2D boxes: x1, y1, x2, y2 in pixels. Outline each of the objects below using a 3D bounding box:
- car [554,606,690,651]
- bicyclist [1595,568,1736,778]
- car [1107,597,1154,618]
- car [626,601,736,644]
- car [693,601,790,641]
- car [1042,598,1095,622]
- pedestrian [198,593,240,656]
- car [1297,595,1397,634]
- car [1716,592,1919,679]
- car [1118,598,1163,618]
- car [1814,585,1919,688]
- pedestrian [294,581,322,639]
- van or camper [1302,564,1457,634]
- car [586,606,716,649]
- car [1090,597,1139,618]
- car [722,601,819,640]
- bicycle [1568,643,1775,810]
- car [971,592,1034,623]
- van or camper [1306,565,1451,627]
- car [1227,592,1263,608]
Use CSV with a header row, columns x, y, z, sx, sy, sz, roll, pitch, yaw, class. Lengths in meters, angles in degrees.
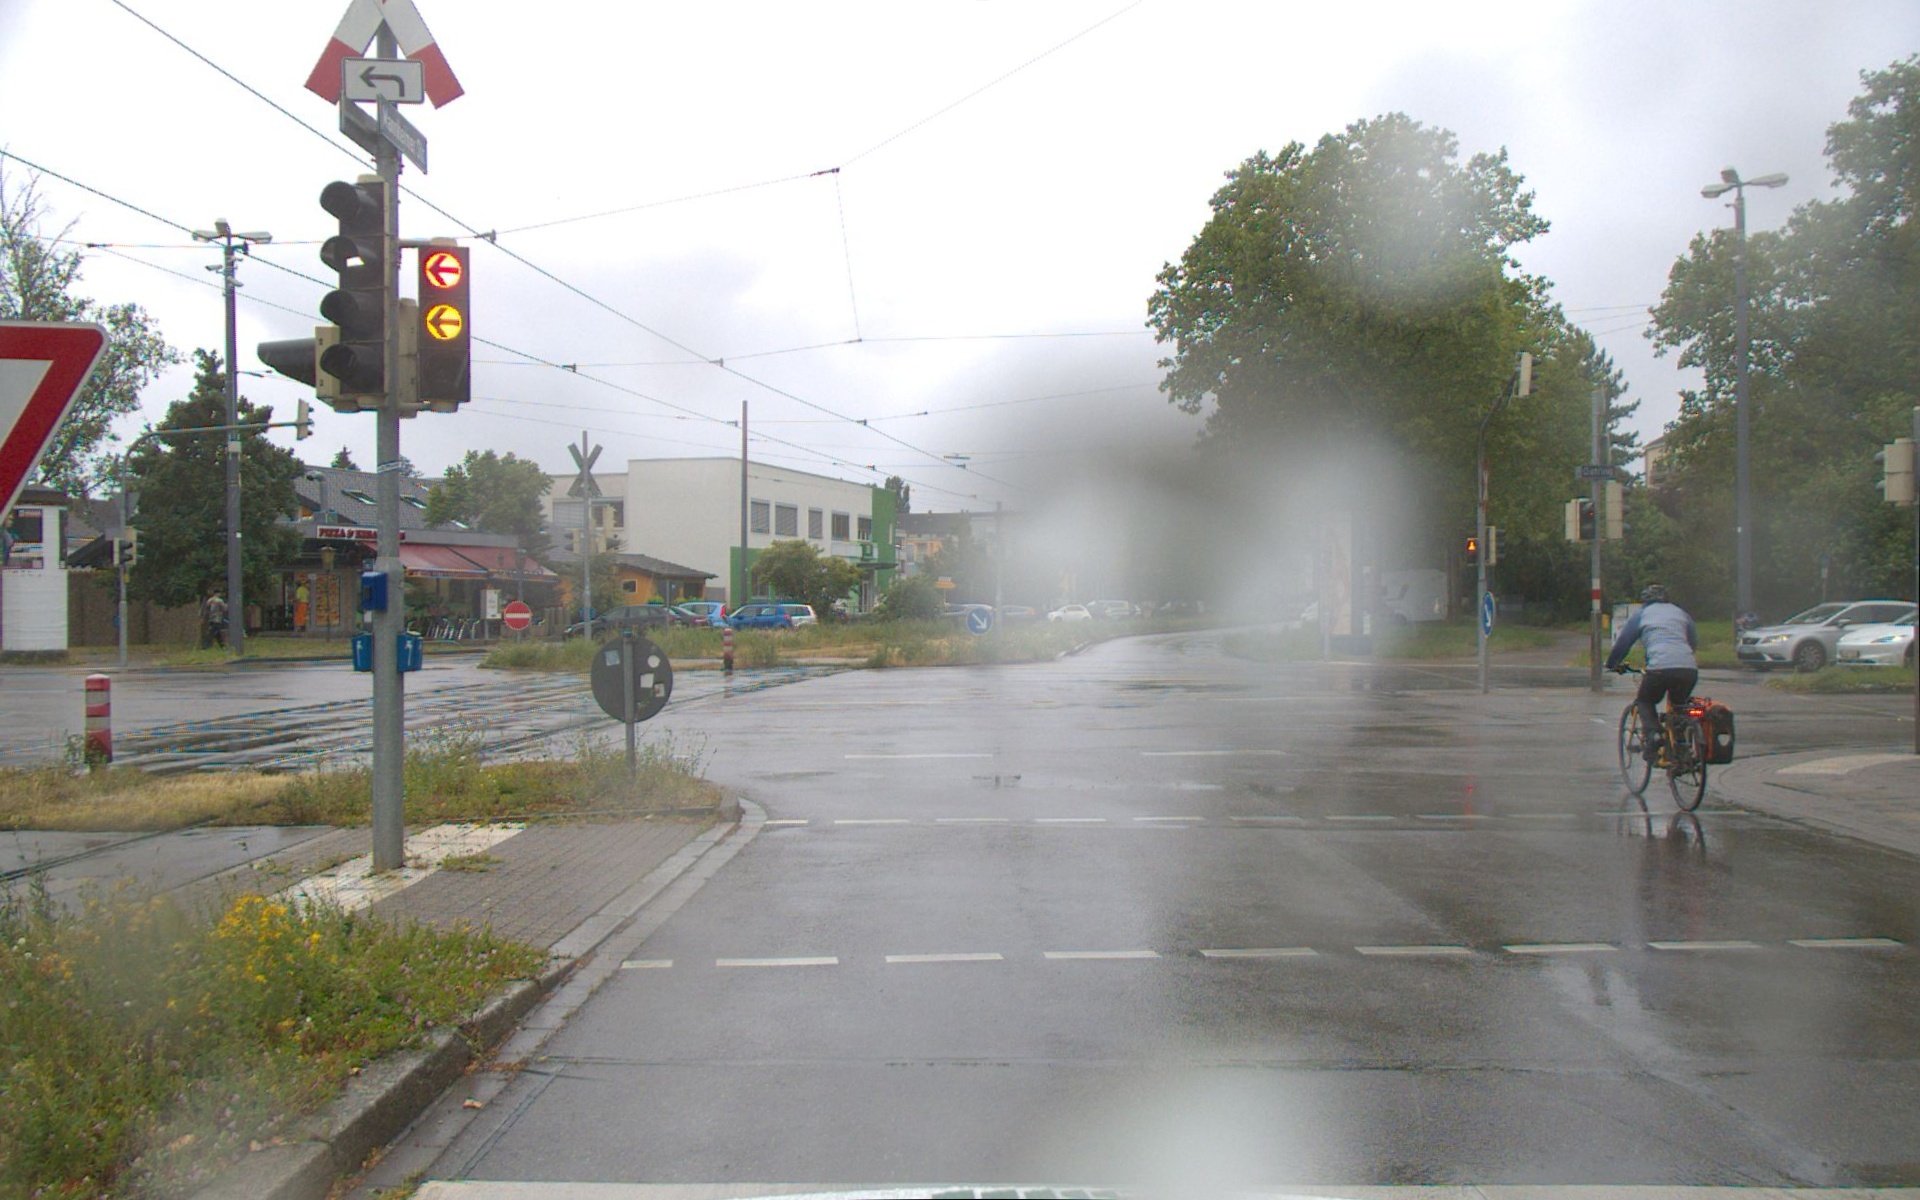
x,y,z,sx,sy,sz,roll,pitch,yaw,class
-11.978,0.994,58.798,4.385,1.443,1.858,-2,0,0,car
5.338,0.541,12.548,0.677,1.532,0.843,1,-1,-3,bicyclist
15.881,0.697,154.085,3.916,1.864,1.994,1,0,-12,car
-10.885,0.875,64.612,3.903,1.609,1.859,0,0,4,car
-9.201,0.877,69.602,3.916,1.609,1.924,0,0,-12,car
8.285,0.761,126.775,3.706,1.732,1.832,1,0,-11,car
-21.709,0.712,48.490,0.709,1.829,0.887,2,0,10,pedestrian
18.219,0.661,77.856,4.352,1.747,2.000,1,0,21,car
18.414,0.730,34.658,4.309,1.721,1.931,1,0,-7,car
17.354,0.744,159.177,3.909,1.864,1.998,1,0,-5,car
18.875,0.703,31.312,4.506,1.860,1.931,1,0,-7,car
-23.215,0.364,58.890,0.709,2.049,0.794,1,-1,-5,pedestrian
20.545,-0.040,80.874,7.168,3.234,3.264,1,0,17,van or camper
-11.412,0.997,61.214,4.405,1.443,1.858,-2,0,0,car
13.527,0.655,145.072,3.916,1.789,2.004,1,0,-12,car
-8.359,0.877,72.779,4.040,1.670,1.922,0,0,-15,car
5.337,0.912,12.539,0.677,1.136,1.884,1,-1,-3,bicycle
2.807,0.502,110.034,3.911,1.920,1.997,1,0,-7,car
22.797,-0.219,90.063,7.274,3.234,3.262,1,0,22,van or camper
34.289,-0.022,199.215,3.909,1.864,1.998,1,0,-5,car
